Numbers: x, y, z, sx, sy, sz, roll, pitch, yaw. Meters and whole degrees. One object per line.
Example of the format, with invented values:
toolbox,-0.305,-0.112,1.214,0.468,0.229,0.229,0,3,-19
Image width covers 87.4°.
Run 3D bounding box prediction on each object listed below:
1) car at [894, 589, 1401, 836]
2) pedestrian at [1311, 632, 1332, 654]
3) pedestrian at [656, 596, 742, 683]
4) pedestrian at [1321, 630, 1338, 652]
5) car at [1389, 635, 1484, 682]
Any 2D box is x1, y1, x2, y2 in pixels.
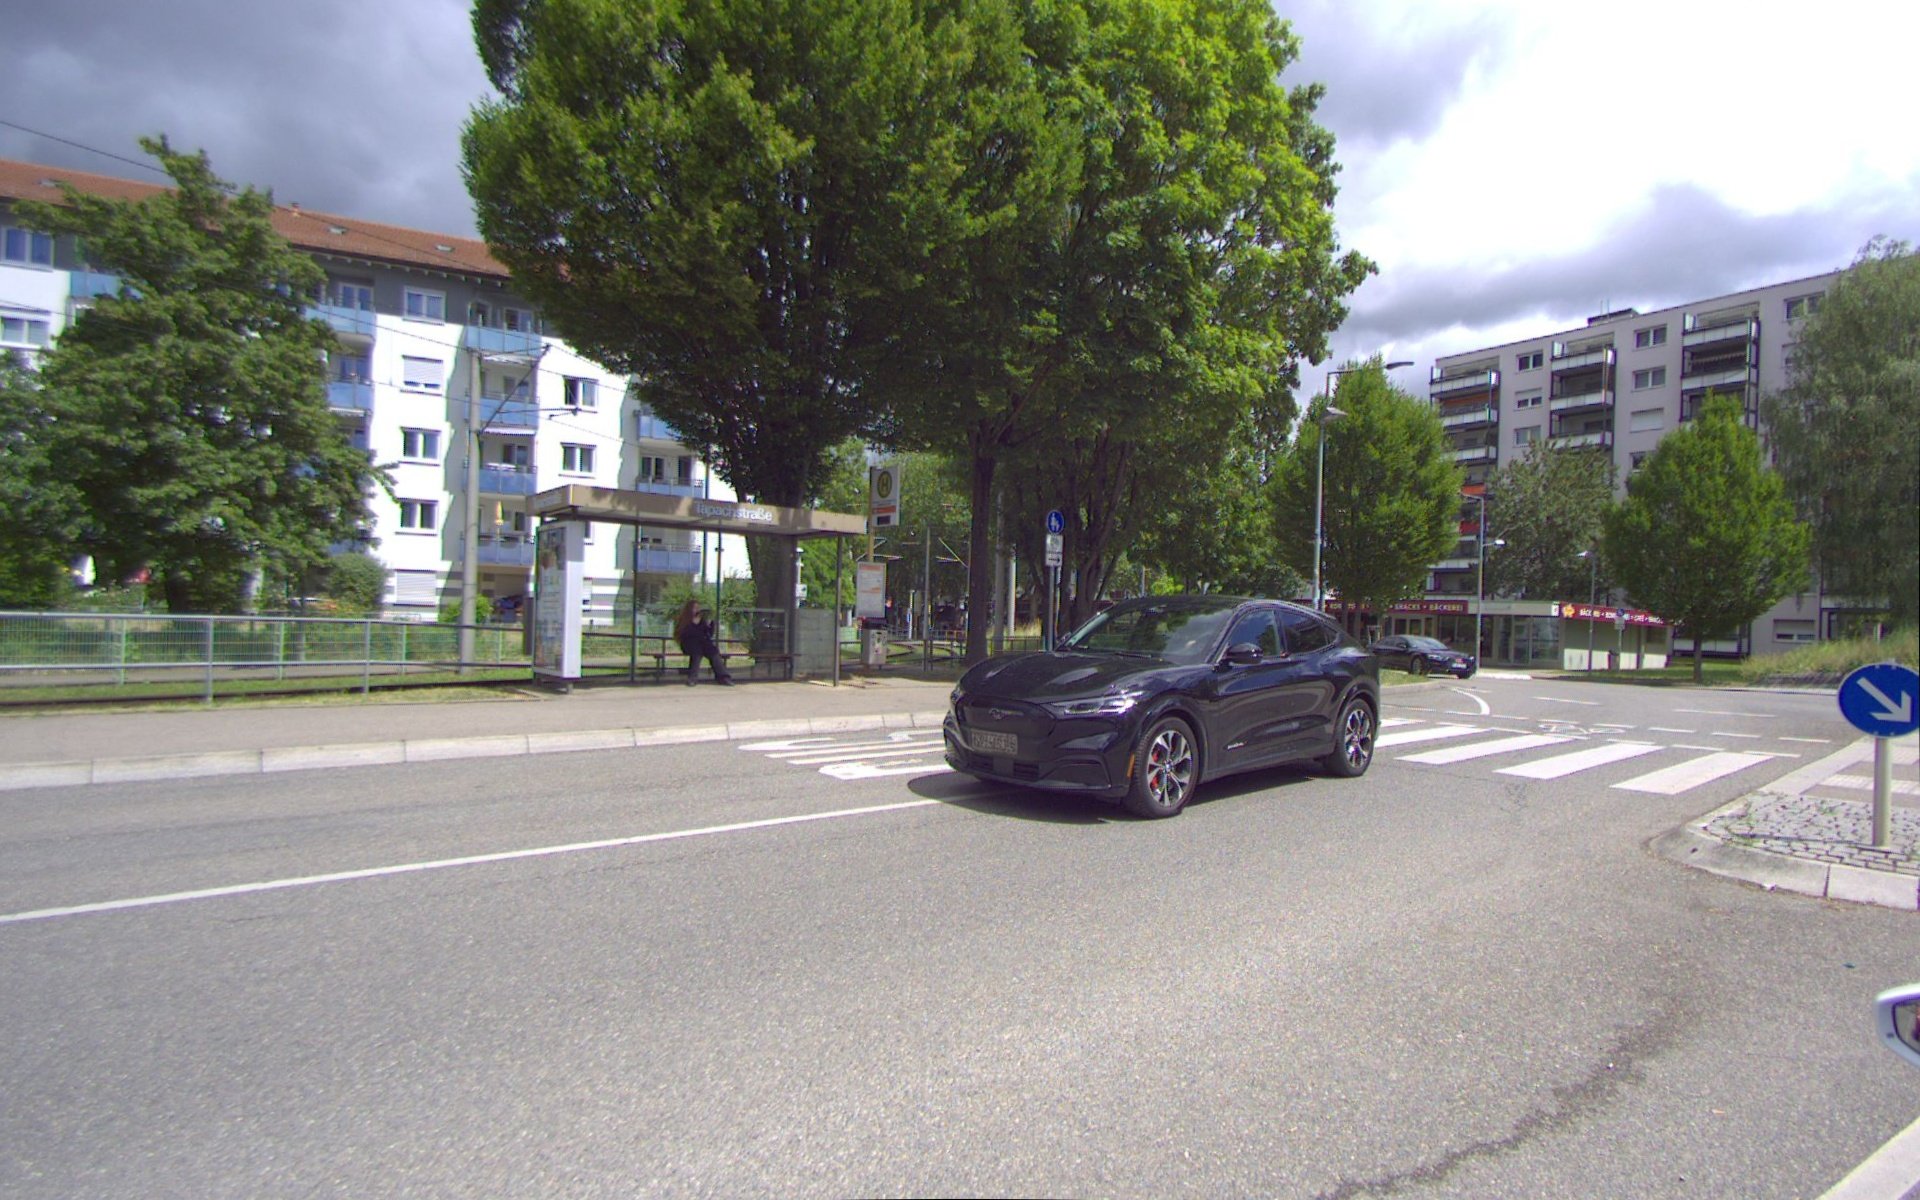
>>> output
car,1.802,0.722,8.586,4.492,1.546,1.975,1,1,-43
pedestrian,22.948,2.719,63.787,0.871,1.342,0.815,2,1,-32
pedestrian,-3.649,0.543,14.040,0.903,1.150,0.792,2,0,-38
pedestrian,23.642,2.646,64.283,0.710,1.399,0.694,2,-1,-25
car,16.112,1.942,34.206,1.786,1.402,4.621,1,-1,10
